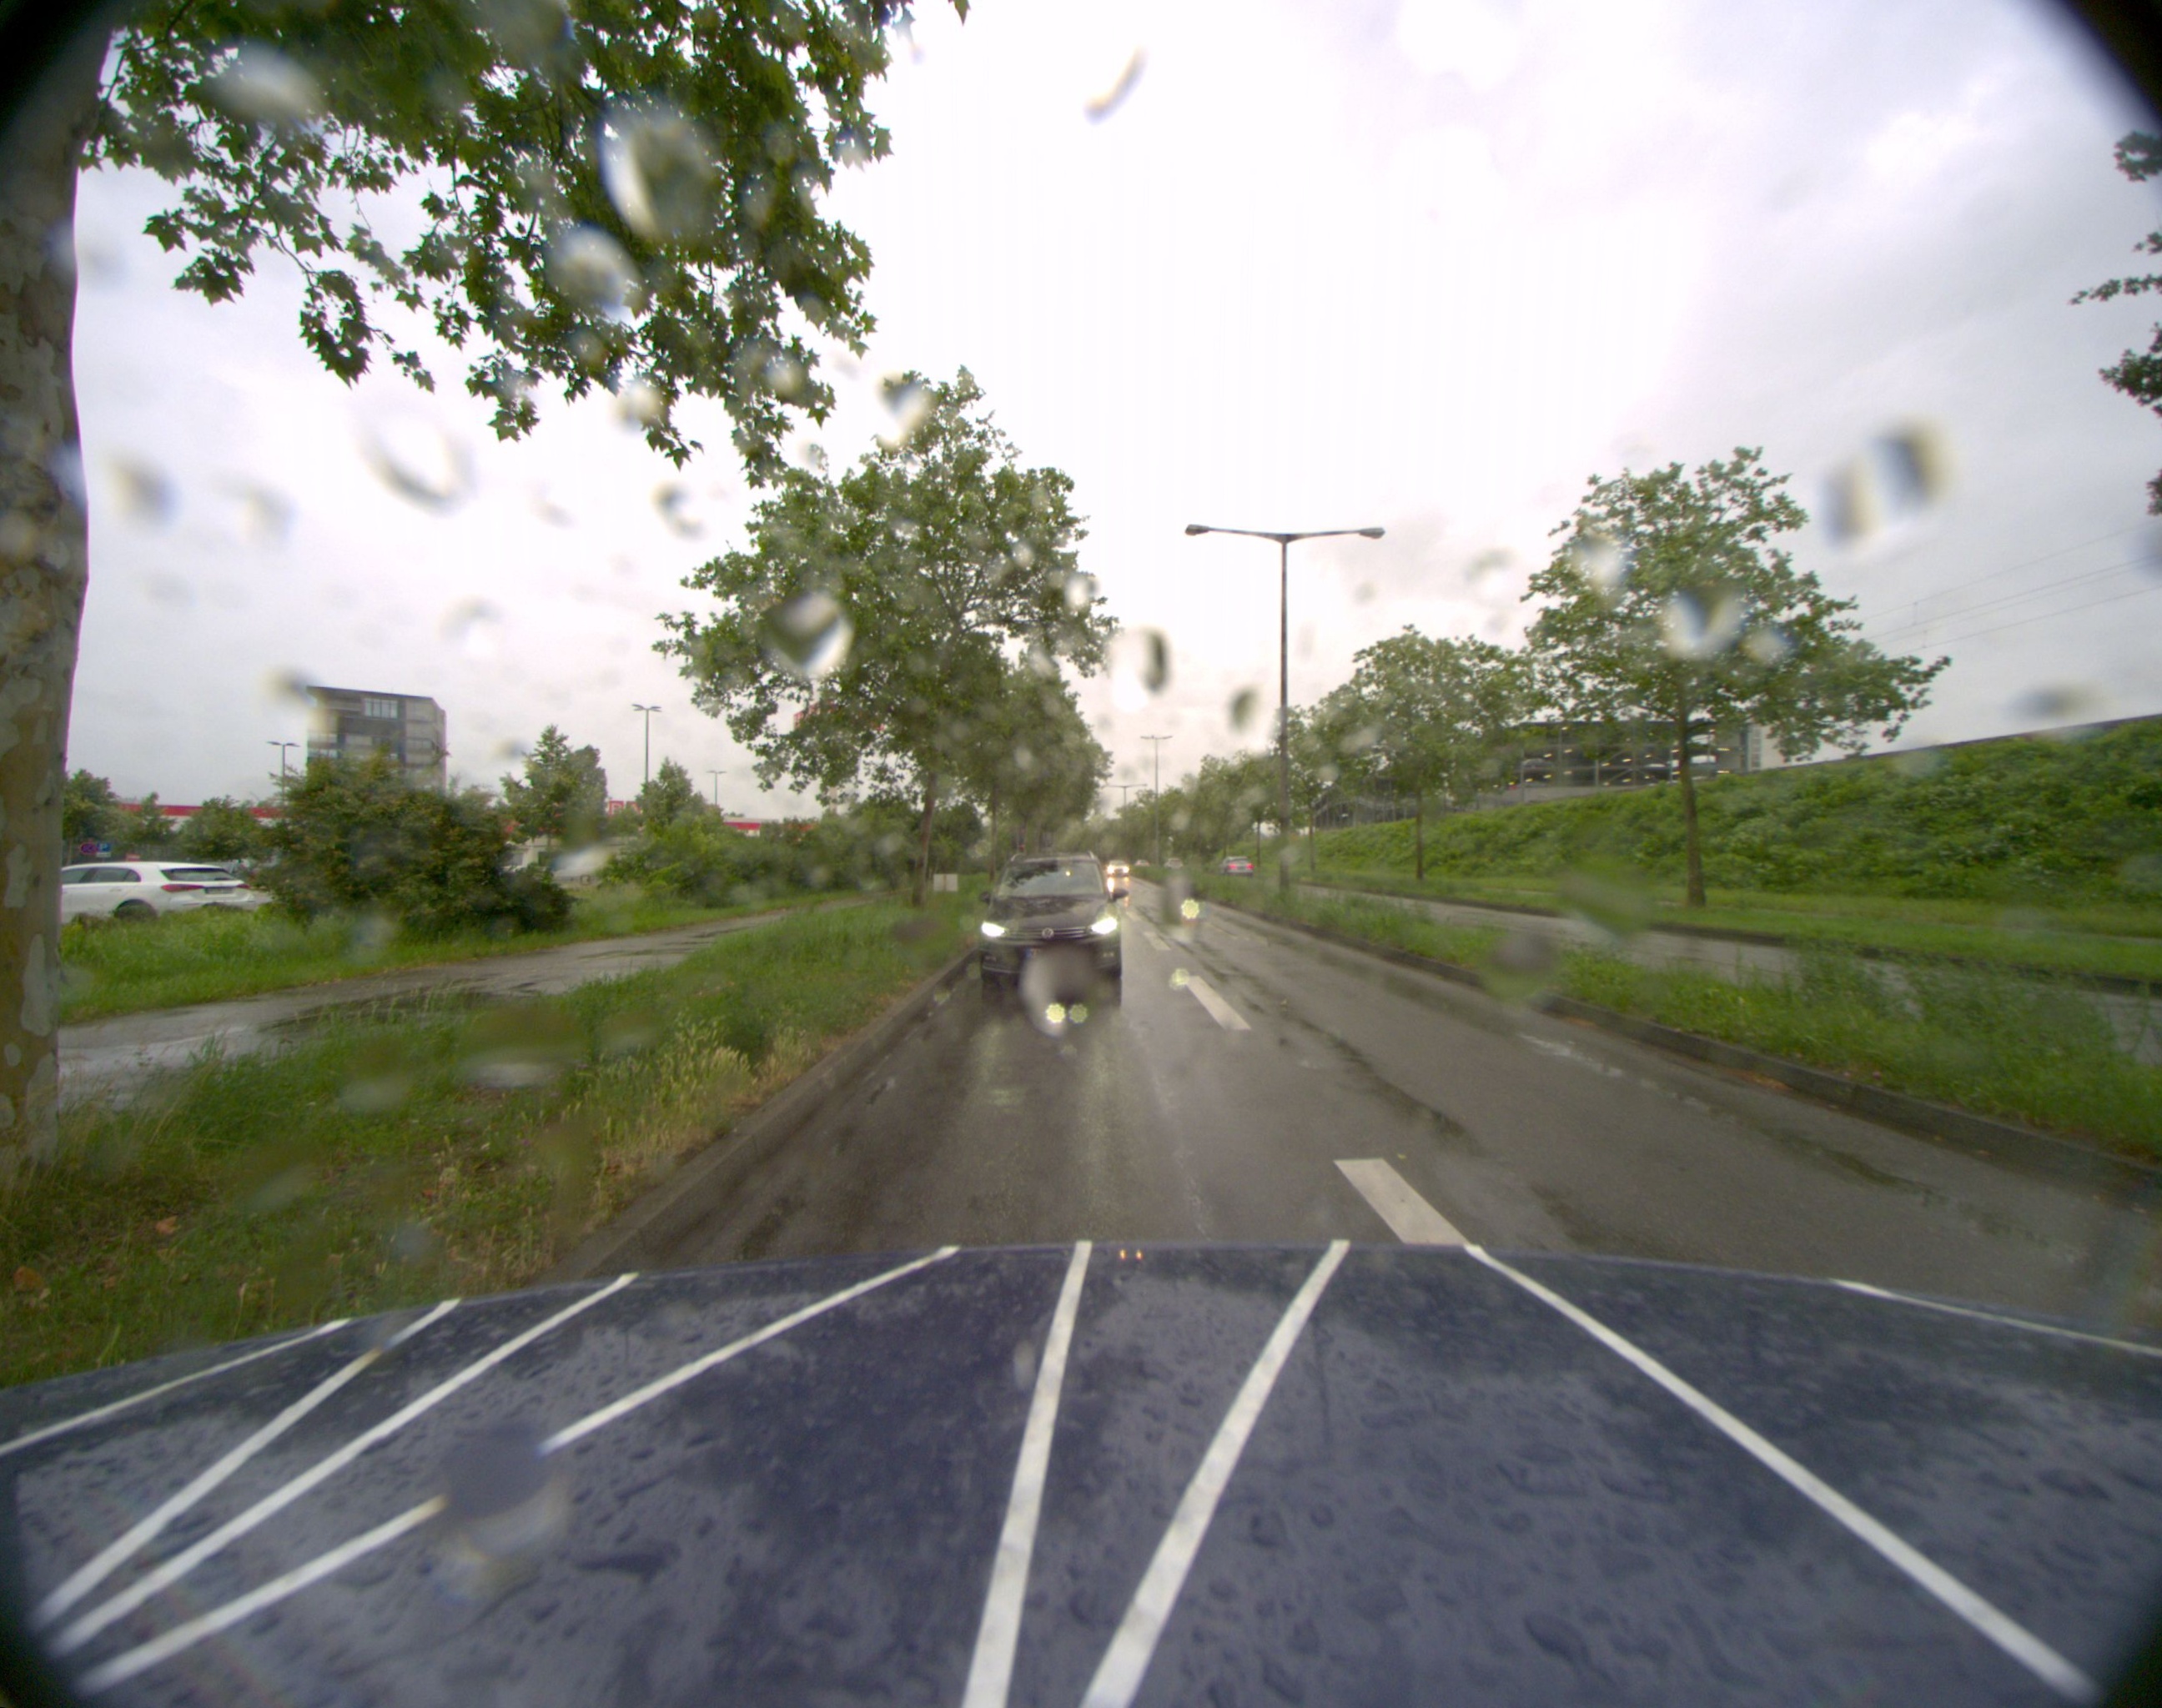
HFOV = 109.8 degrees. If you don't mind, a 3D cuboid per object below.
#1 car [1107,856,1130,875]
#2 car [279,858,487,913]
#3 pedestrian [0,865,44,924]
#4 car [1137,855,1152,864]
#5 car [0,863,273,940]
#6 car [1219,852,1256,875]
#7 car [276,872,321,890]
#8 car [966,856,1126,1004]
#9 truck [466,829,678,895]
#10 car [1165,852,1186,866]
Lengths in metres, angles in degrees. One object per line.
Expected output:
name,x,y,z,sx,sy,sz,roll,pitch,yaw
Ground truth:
car,3.168,0.982,64.884,1.729,1.470,4.000,-2,0,1
car,-20.056,0.866,22.000,3.998,1.357,1.999,-2,1,-3
pedestrian,-32.825,1.240,23.369,0.704,1.777,0.799,0,0,-4
car,9.699,0.825,116.199,1.936,1.436,4.657,-1,0,0
car,-19.703,0.939,15.612,3.998,1.357,1.867,-2,1,-3
car,11.246,0.677,54.995,1.861,1.580,4.519,1,0,2
car,-67.295,2.292,65.427,1.864,1.348,3.866,-1,0,-33
car,-0.345,0.887,11.134,1.788,1.605,4.717,-2,0,2
truck,-19.840,0.287,29.928,6.552,2.291,2.219,-2,1,-6
car,10.875,0.588,87.522,1.861,1.579,4.518,0,0,1
